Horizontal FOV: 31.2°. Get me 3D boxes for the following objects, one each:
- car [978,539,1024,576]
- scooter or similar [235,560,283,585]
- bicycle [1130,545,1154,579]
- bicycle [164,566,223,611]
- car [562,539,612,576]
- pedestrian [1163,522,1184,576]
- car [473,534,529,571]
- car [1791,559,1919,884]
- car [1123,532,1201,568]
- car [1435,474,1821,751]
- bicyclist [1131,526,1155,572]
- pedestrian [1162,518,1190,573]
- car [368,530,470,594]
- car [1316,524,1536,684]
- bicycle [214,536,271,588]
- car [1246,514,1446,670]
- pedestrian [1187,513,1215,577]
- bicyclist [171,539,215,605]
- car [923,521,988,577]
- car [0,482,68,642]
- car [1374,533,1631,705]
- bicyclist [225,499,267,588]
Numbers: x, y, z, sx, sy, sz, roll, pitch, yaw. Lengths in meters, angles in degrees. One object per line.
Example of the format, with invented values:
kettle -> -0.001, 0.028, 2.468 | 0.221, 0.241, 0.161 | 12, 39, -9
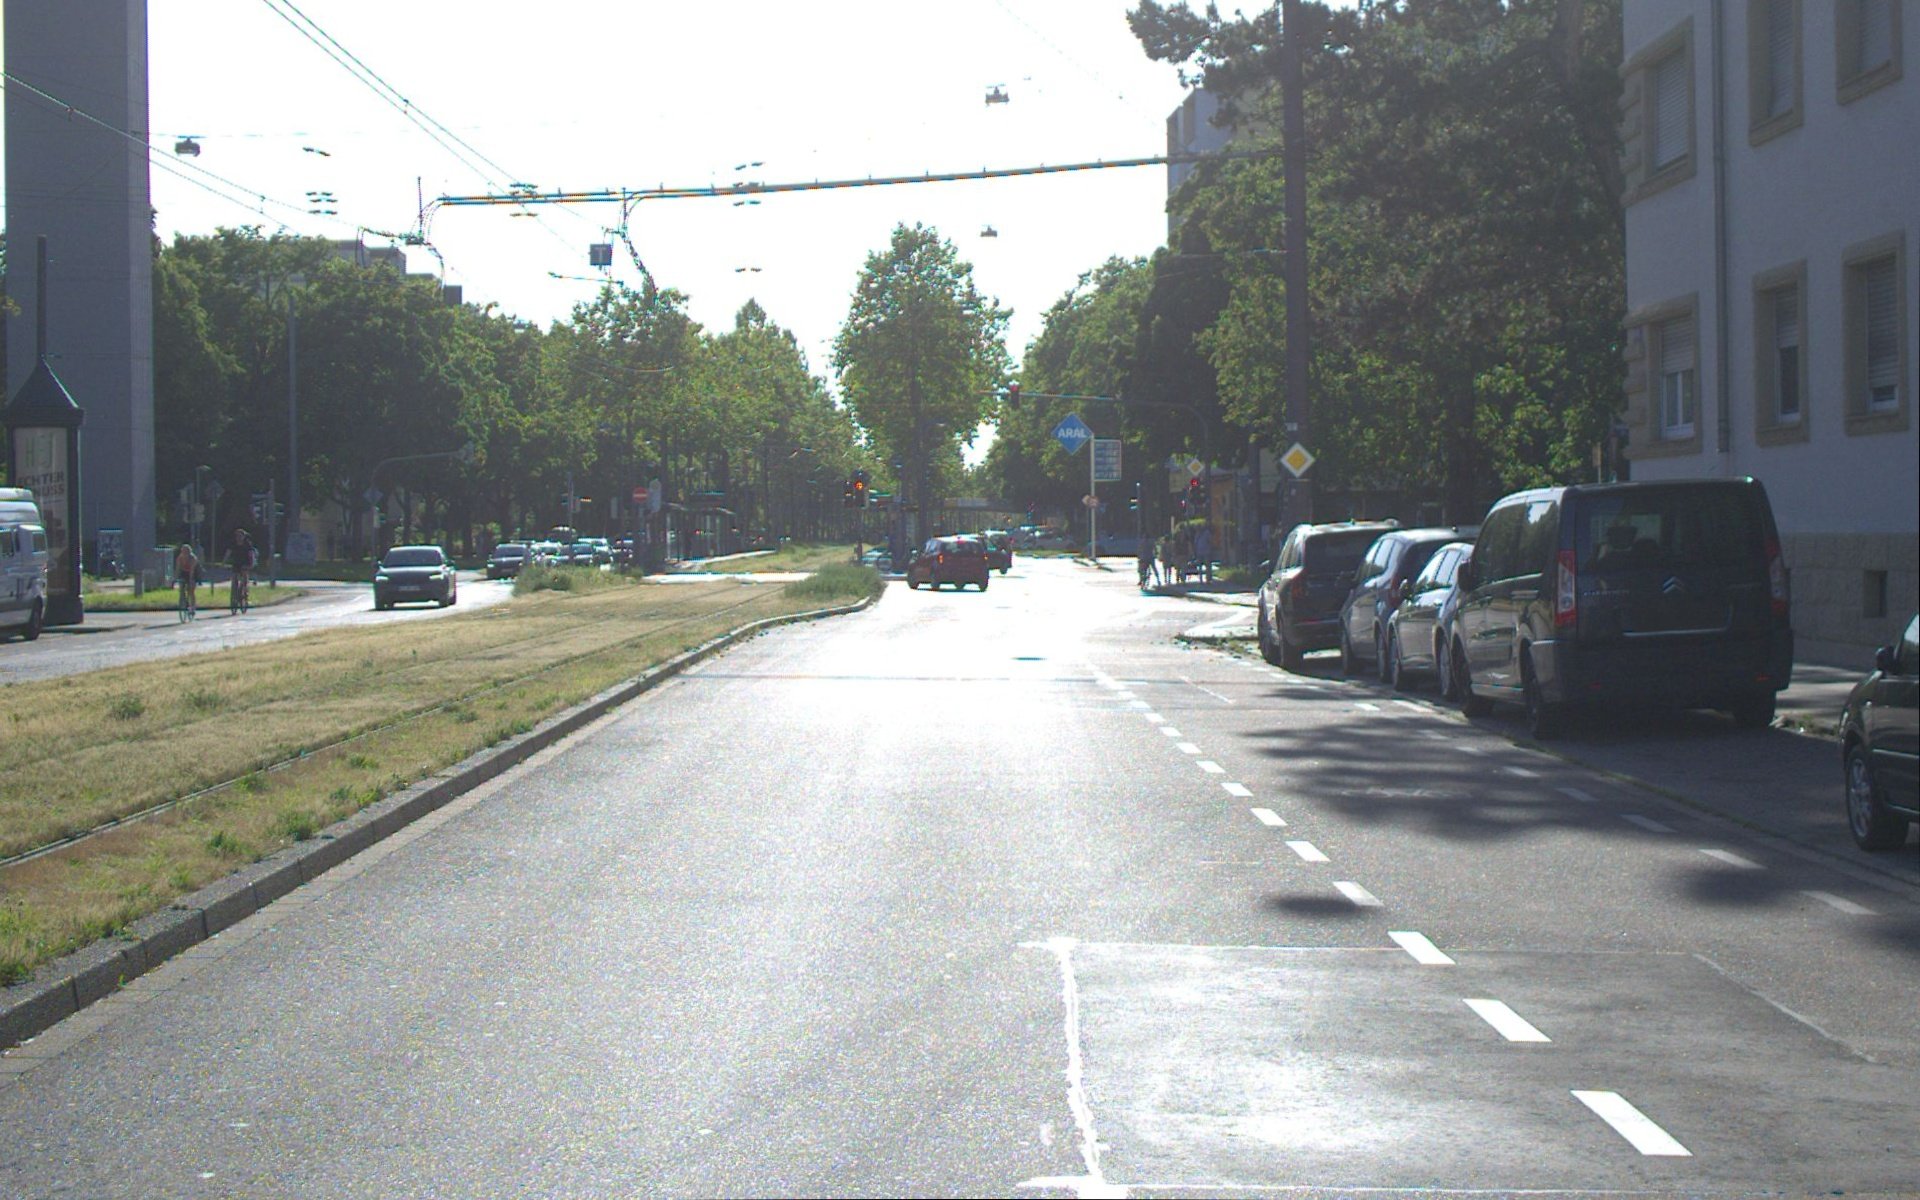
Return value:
car -> 1.854, -1.951, 157.569 | 1.894, 1.605, 4.501 | 2, 1, -1
scooter or similar -> -26.509, -1.044, 130.017 | 1.734, 0.896, 0.563 | -1, 1, -16
bicycle -> 5.292, -1.112, 99.882 | 0.648, 0.969, 1.803 | 2, 1, 3
bicycle -> -16.271, -0.249, 72.993 | 0.768, 0.876, 2.069 | -2, 1, 0
car -> -16.048, -1.842, 147.898 | 1.687, 1.527, 4.361 | 0, 1, 0
pedestrian -> 6.128, -1.452, 98.599 | 0.529, 1.523, 0.627 | -2, 1, 5
car -> -19.618, -2.041, 147.188 | 1.806, 1.527, 4.361 | -1, 1, 0
car -> 5.228, 0.543, 16.183 | 1.635, 1.449, 3.790 | -3, 1, 0
car -> 11.082, -2.748, 188.868 | 3.989, 1.853, 2.011 | 2, 1, 11
car -> 5.205, 0.037, 27.517 | 1.913, 1.893, 5.136 | -4, 1, -1
bicyclist -> 5.310, -1.477, 99.825 | 0.638, 1.318, 0.803 | 2, 1, 2
pedestrian -> 6.649, -1.672, 105.852 | 0.730, 1.676, 0.532 | 2, 1, 12
car -> -12.891, -0.928, 82.145 | 1.694, 1.443, 4.217 | -2, 1, 0
car -> 4.989, 0.000, 37.231 | 1.593, 1.573, 3.896 | -3, 1, -3
bicycle -> -16.536, -0.883, 79.288 | 0.768, 1.142, 2.475 | -2, 1, 0
car -> 4.705, -0.154, 42.554 | 1.879, 1.711, 4.934 | -3, 1, 1
pedestrian -> 6.903, -1.576, 98.483 | 0.703, 1.783, 0.694 | -3, 2, 5
bicyclist -> -16.257, -0.603, 72.910 | 0.773, 1.379, 0.648 | -1, 1, 0
car -> -0.149, -1.479, 98.622 | 1.694, 1.503, 3.700 | 1, 1, -2
car -> -18.154, -0.720, 62.773 | 2.032, 2.859, 6.228 | 1, 1, 1
car -> 5.062, 0.126, 32.551 | 1.510, 1.473, 4.239 | -2, 1, -3
bicyclist -> -16.401, -1.304, 78.973 | 0.773, 2.007, 0.648 | 2, 1, 0
